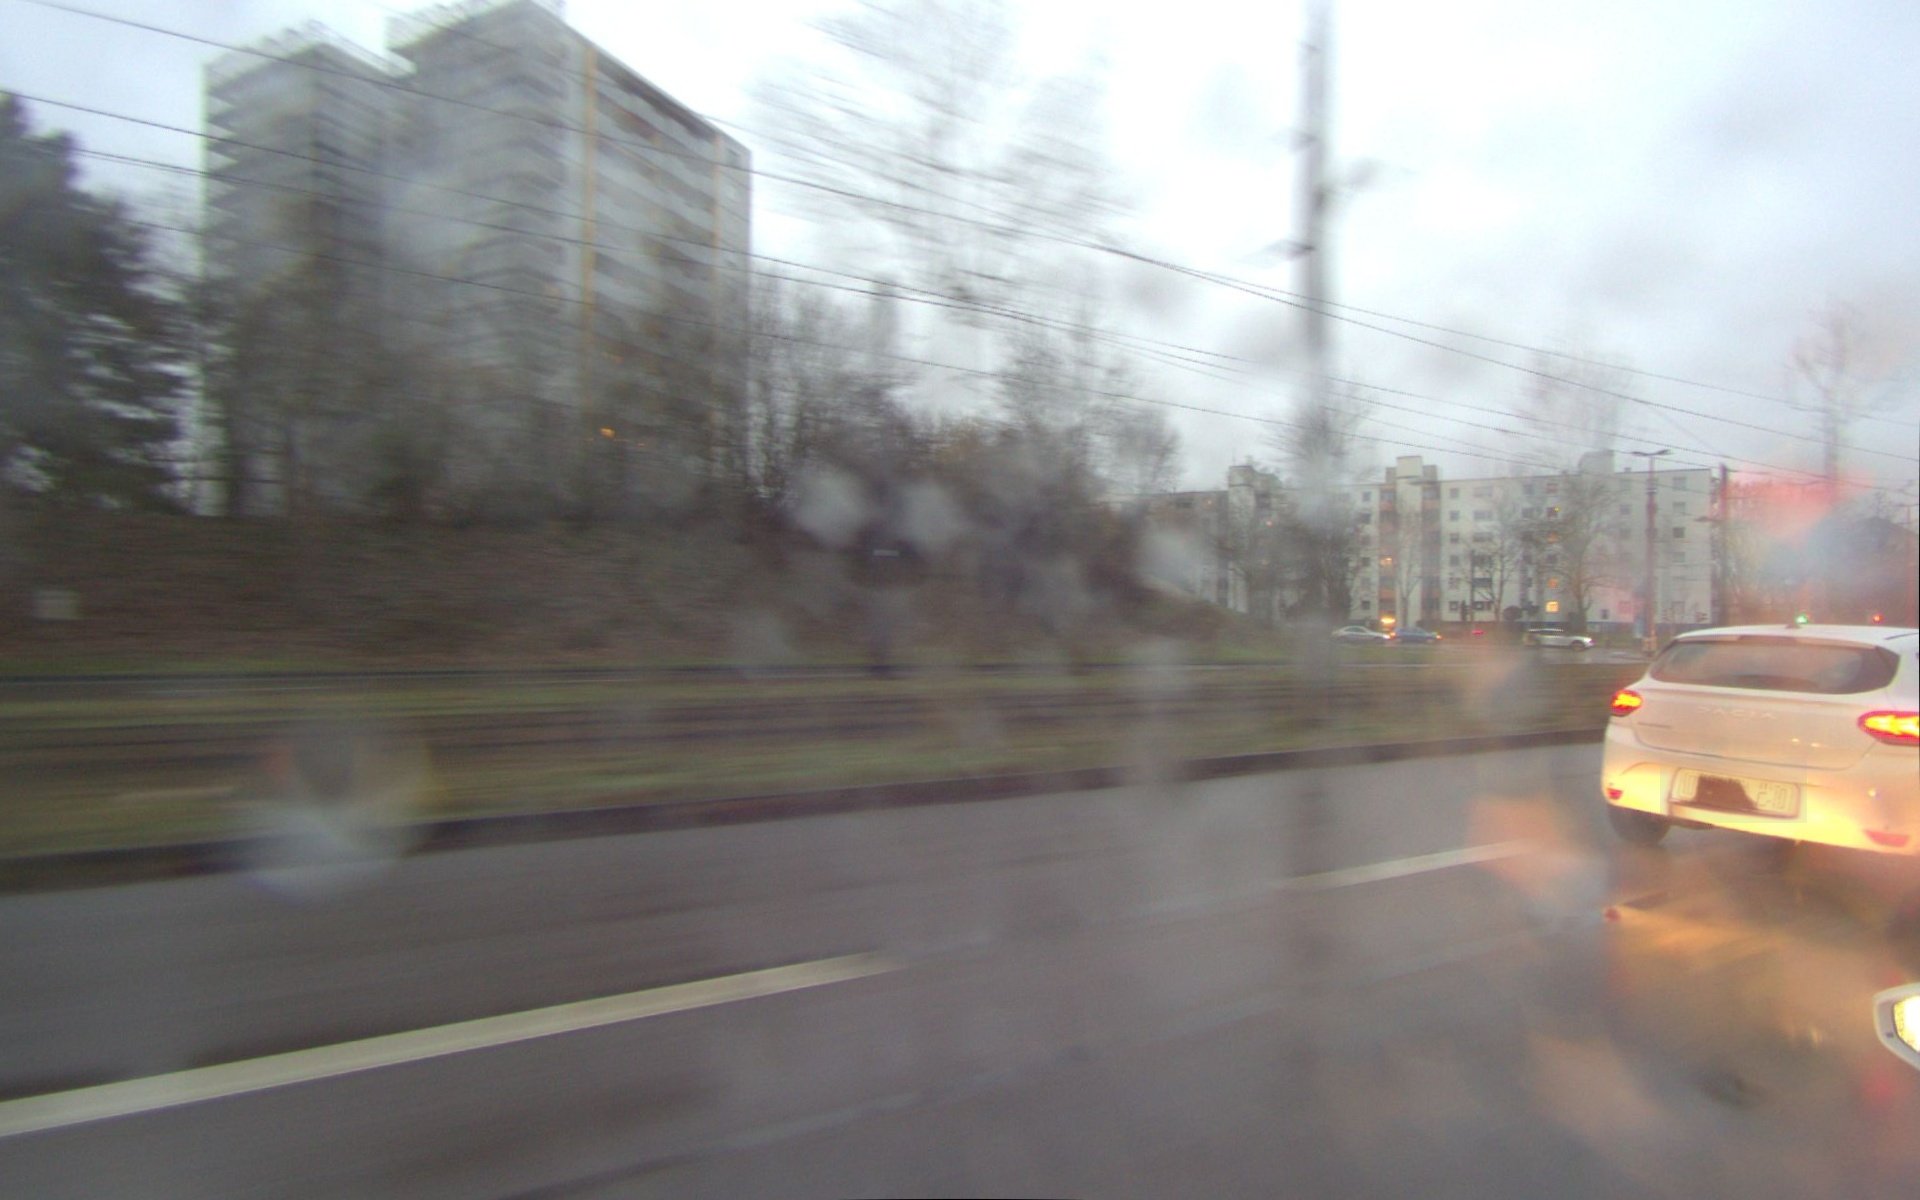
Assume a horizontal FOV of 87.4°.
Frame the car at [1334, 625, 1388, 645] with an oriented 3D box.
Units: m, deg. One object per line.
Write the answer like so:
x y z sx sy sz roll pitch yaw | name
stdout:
33.586 2.932 84.140 3.931 1.565 1.708 0 -2 33 | car

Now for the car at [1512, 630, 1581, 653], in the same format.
43.544 3.066 74.548 4.364 1.565 1.847 0 -2 33 | car

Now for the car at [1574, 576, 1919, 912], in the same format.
6.129 0.771 6.781 4.099 1.670 1.705 2 -1 -31 | car
